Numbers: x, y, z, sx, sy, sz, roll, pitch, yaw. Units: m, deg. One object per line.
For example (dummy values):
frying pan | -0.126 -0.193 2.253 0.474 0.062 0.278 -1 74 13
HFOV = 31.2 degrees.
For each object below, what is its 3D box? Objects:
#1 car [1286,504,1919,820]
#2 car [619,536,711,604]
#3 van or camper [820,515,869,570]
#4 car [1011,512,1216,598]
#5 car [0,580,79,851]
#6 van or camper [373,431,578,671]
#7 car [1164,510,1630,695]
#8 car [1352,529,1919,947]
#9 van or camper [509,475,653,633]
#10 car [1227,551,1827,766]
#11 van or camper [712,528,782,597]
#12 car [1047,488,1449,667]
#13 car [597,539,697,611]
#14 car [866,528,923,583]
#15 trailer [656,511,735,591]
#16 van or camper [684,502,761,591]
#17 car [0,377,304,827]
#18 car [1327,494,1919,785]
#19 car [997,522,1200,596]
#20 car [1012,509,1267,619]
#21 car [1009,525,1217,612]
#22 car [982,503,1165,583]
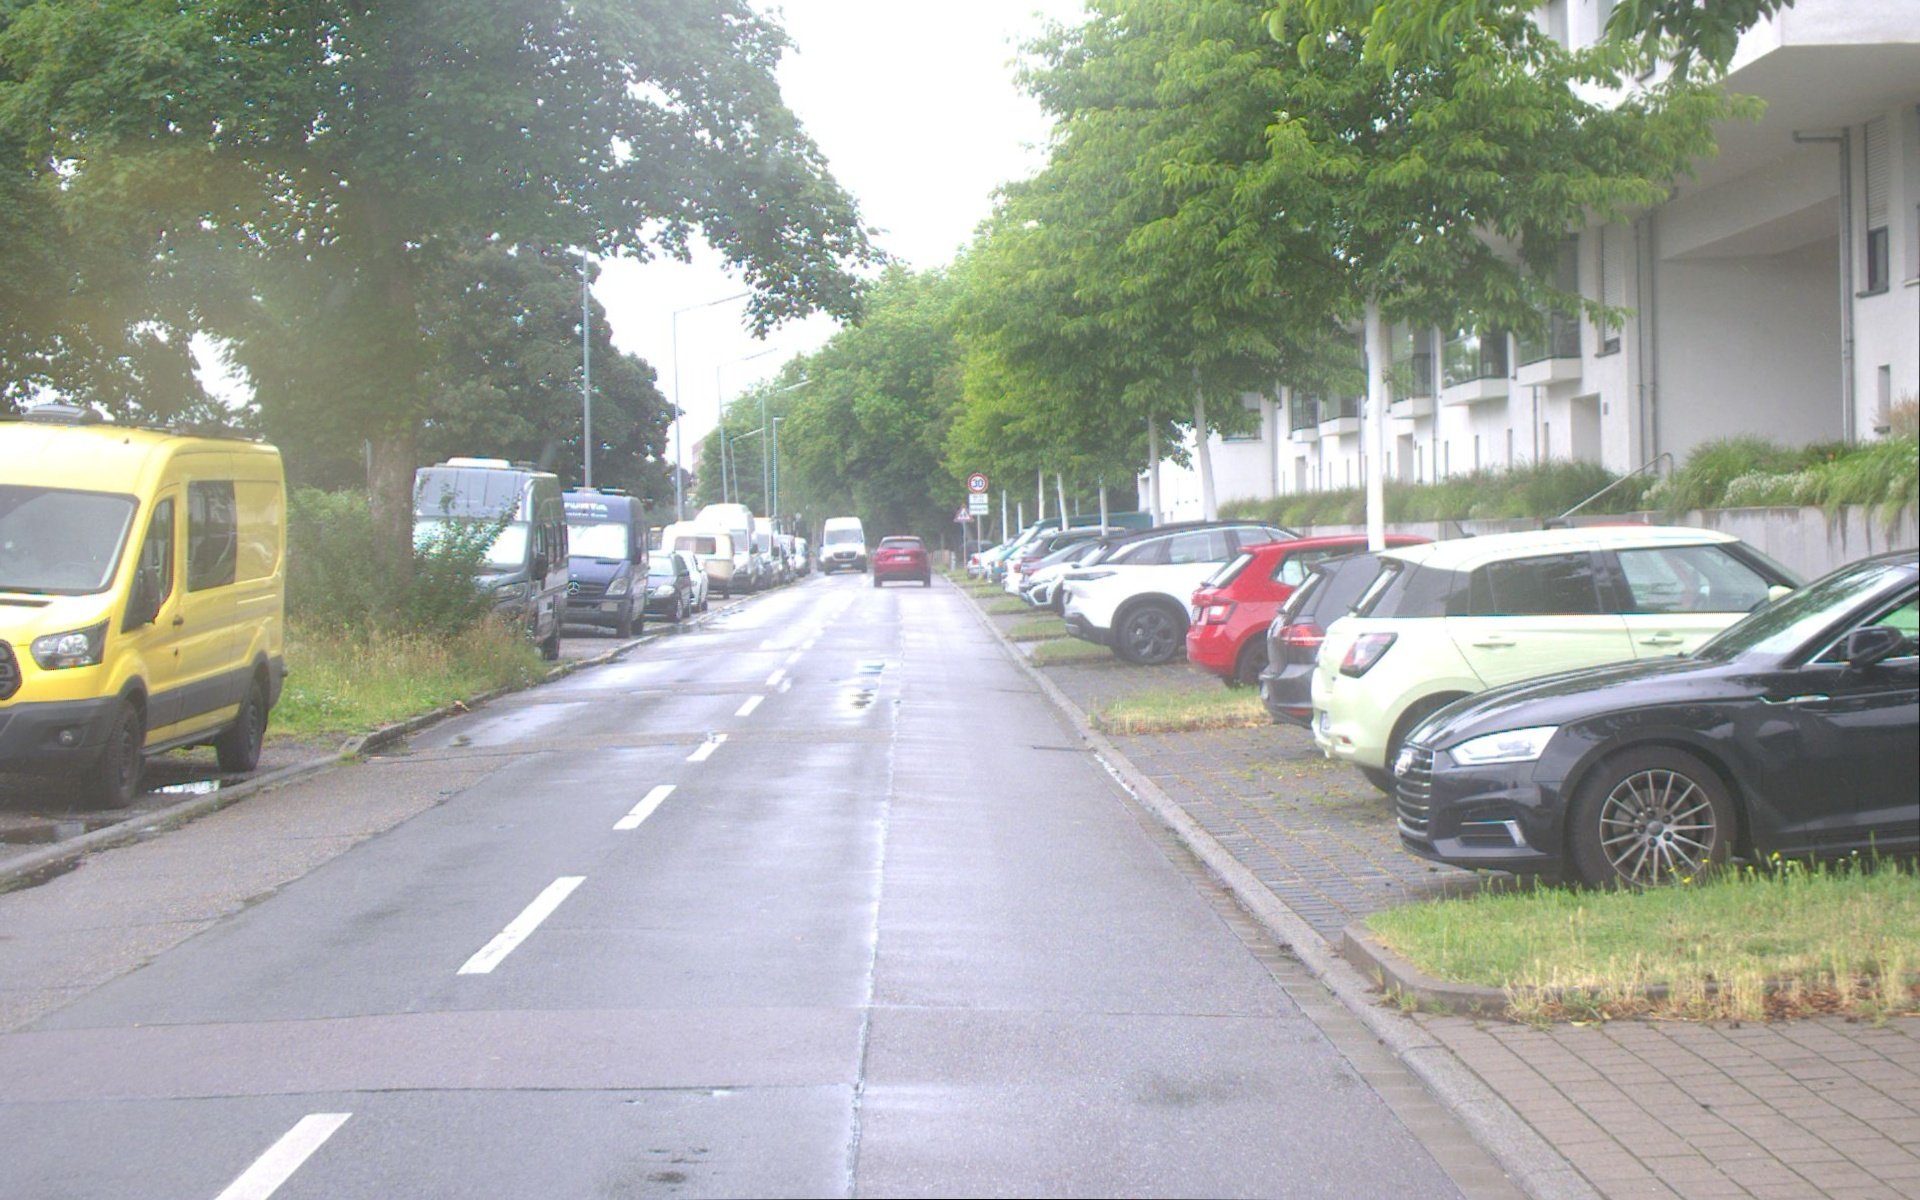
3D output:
car | 4.191 0.280 19.159 4.487 1.476 1.692 -4 1 -1
car | -7.062 -0.742 82.657 1.887 1.520 5.110 1 1 -2
van or camper | -5.446 -2.739 162.737 1.993 2.488 7.178 -2 1 0
car | 3.268 -0.973 73.783 4.161 1.619 1.898 -3 1 -3
car | -6.100 0.609 17.346 2.010 1.429 5.340 2 1 -1
van or camper | -6.697 -0.674 48.216 2.094 3.084 6.425 2 0 -2
car | 3.997 0.021 31.902 3.987 1.446 1.821 -3 0 -1
car | 4.092 0.460 14.426 4.570 1.492 1.826 -4 1 -1
van or camper | -6.959 -0.832 63.852 2.094 2.706 7.575 1 0 -2
car | 3.972 0.392 24.450 3.956 1.469 1.592 0 1 -3
van or camper | -7.702 -1.373 124.698 2.189 2.453 6.377 0 1 0
car | 3.477 -0.282 42.082 4.539 1.679 1.886 -6 1 -3
car | -6.846 -0.569 75.627 1.774 1.497 4.828 1 1 0
car | -2.115 -1.449 111.434 1.756 1.700 4.000 -1 1 -1
trailer | -7.533 -1.410 98.329 2.058 2.210 5.795 0 1 -2
van or camper | -7.632 -1.733 111.057 1.993 2.752 7.899 0 1 0
car | -6.258 -0.060 23.661 2.192 2.685 6.081 1 1 1
car | 4.456 0.214 21.809 3.987 1.550 1.635 -4 1 0
car | 3.045 -0.913 76.185 4.298 1.423 1.637 -3 1 -3
car | 3.300 -0.687 63.796 4.476 1.681 1.936 -4 2 -2
car | 3.025 -0.642 68.600 3.987 1.504 1.684 -3 2 -1
car | 2.980 -1.521 91.131 4.617 2.012 1.858 -1 1 -5
